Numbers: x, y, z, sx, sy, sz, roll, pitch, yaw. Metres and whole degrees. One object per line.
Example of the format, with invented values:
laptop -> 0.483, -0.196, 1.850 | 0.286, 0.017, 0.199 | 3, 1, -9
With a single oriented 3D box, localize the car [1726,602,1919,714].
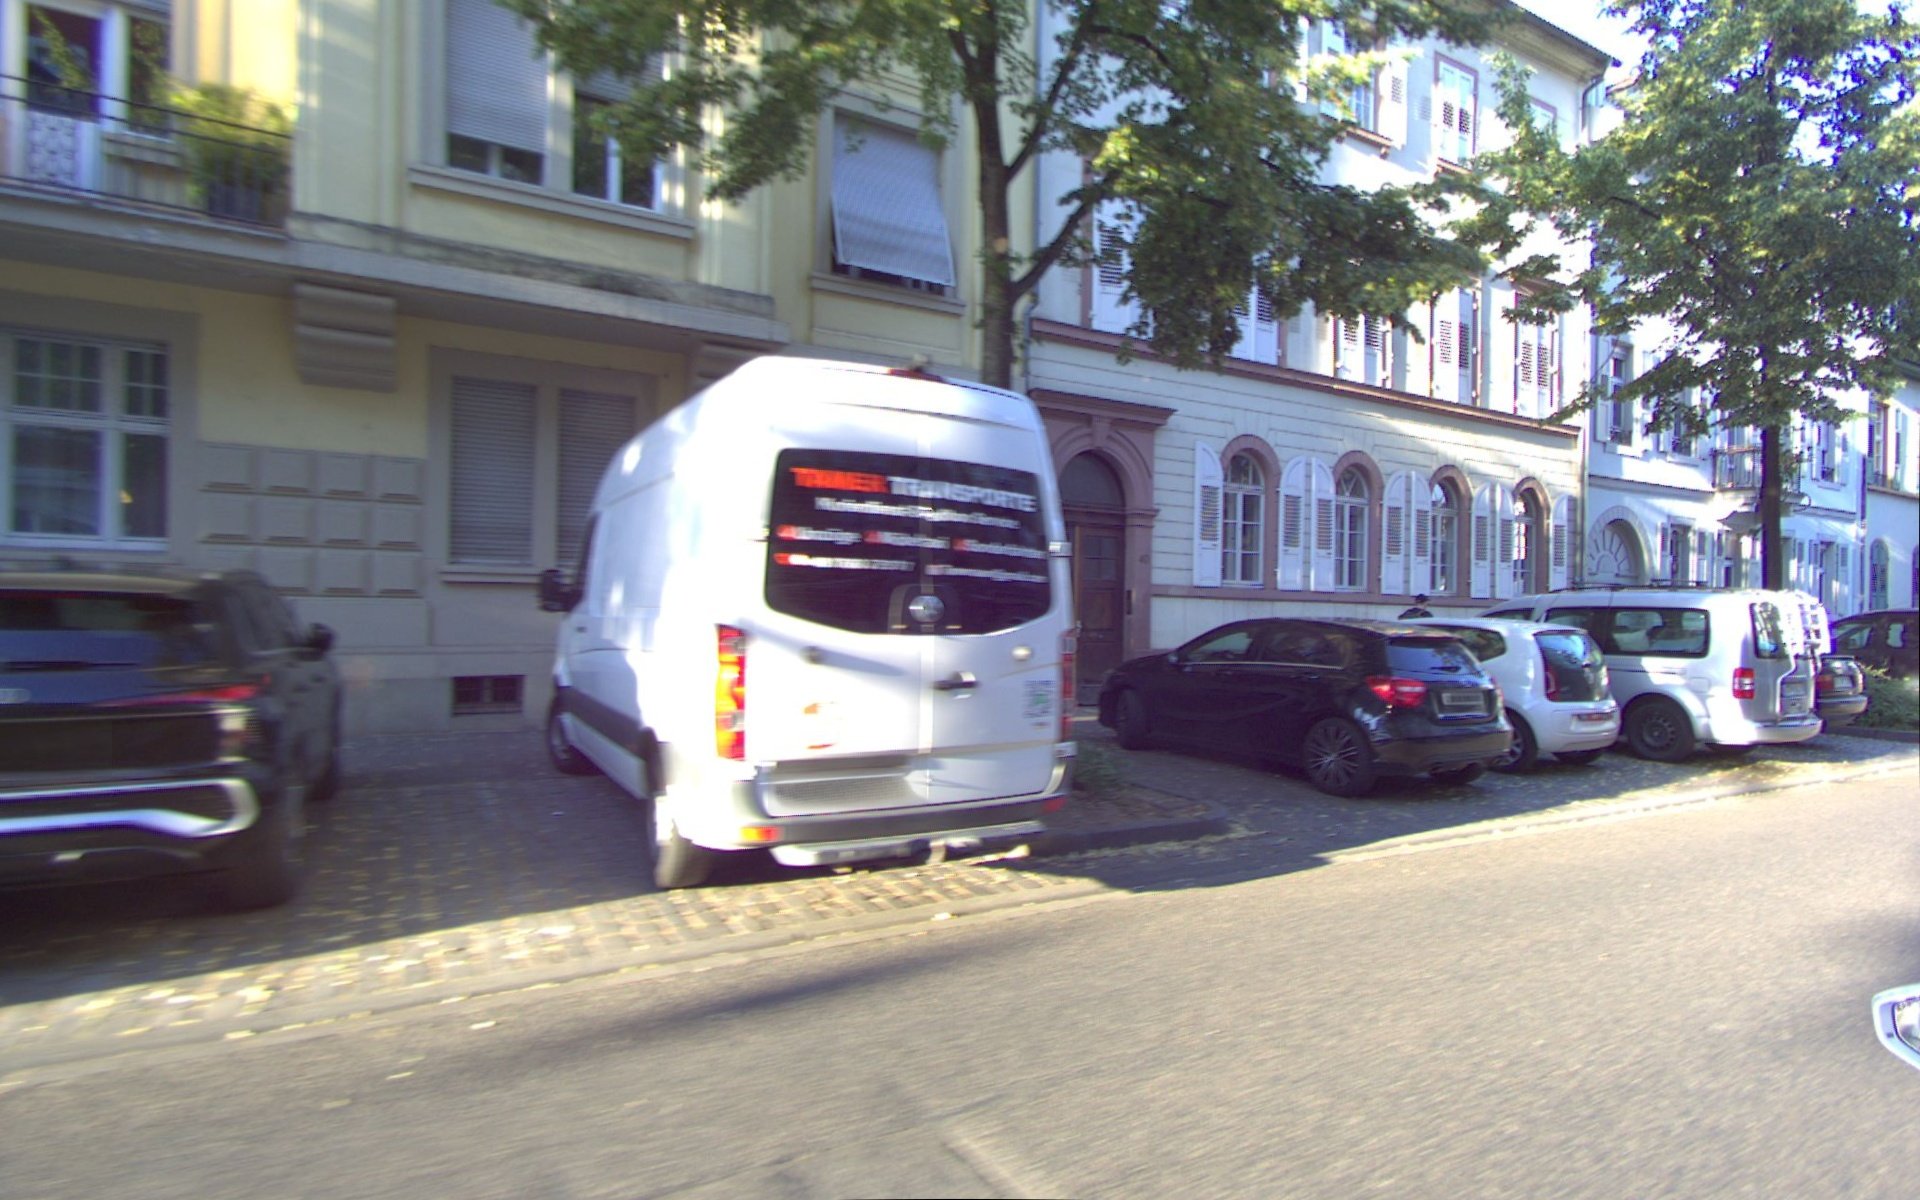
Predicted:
car -> 16.231, 0.972, 17.585 | 1.784, 1.830, 4.122 | 1, 0, -28

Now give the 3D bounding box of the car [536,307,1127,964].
car -> -1.474, 0.103, 7.059 | 2.145, 2.657, 5.632 | 1, 1, -29

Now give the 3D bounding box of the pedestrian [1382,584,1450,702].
pedestrian -> 7.293, 0.679, 16.074 | 0.770, 1.826, 0.659 | 1, -1, -30

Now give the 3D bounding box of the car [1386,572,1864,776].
car -> 7.687, 0.716, 12.167 | 1.894, 1.979, 4.483 | 1, 0, -27

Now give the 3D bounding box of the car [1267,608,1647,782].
car -> 5.305, 0.895, 11.081 | 1.695, 1.486, 3.349 | 1, 1, -33

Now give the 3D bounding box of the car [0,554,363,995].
car -> -4.538, 0.594, 5.509 | 1.951, 1.621, 4.195 | 1, 1, -28

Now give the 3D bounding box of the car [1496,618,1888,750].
car -> 9.863, 1.025, 13.928 | 1.574, 1.459, 4.135 | 1, 0, -28

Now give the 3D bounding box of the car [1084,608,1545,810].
car -> 3.118, 0.858, 9.644 | 1.730, 1.423, 3.966 | 2, 0, -31
